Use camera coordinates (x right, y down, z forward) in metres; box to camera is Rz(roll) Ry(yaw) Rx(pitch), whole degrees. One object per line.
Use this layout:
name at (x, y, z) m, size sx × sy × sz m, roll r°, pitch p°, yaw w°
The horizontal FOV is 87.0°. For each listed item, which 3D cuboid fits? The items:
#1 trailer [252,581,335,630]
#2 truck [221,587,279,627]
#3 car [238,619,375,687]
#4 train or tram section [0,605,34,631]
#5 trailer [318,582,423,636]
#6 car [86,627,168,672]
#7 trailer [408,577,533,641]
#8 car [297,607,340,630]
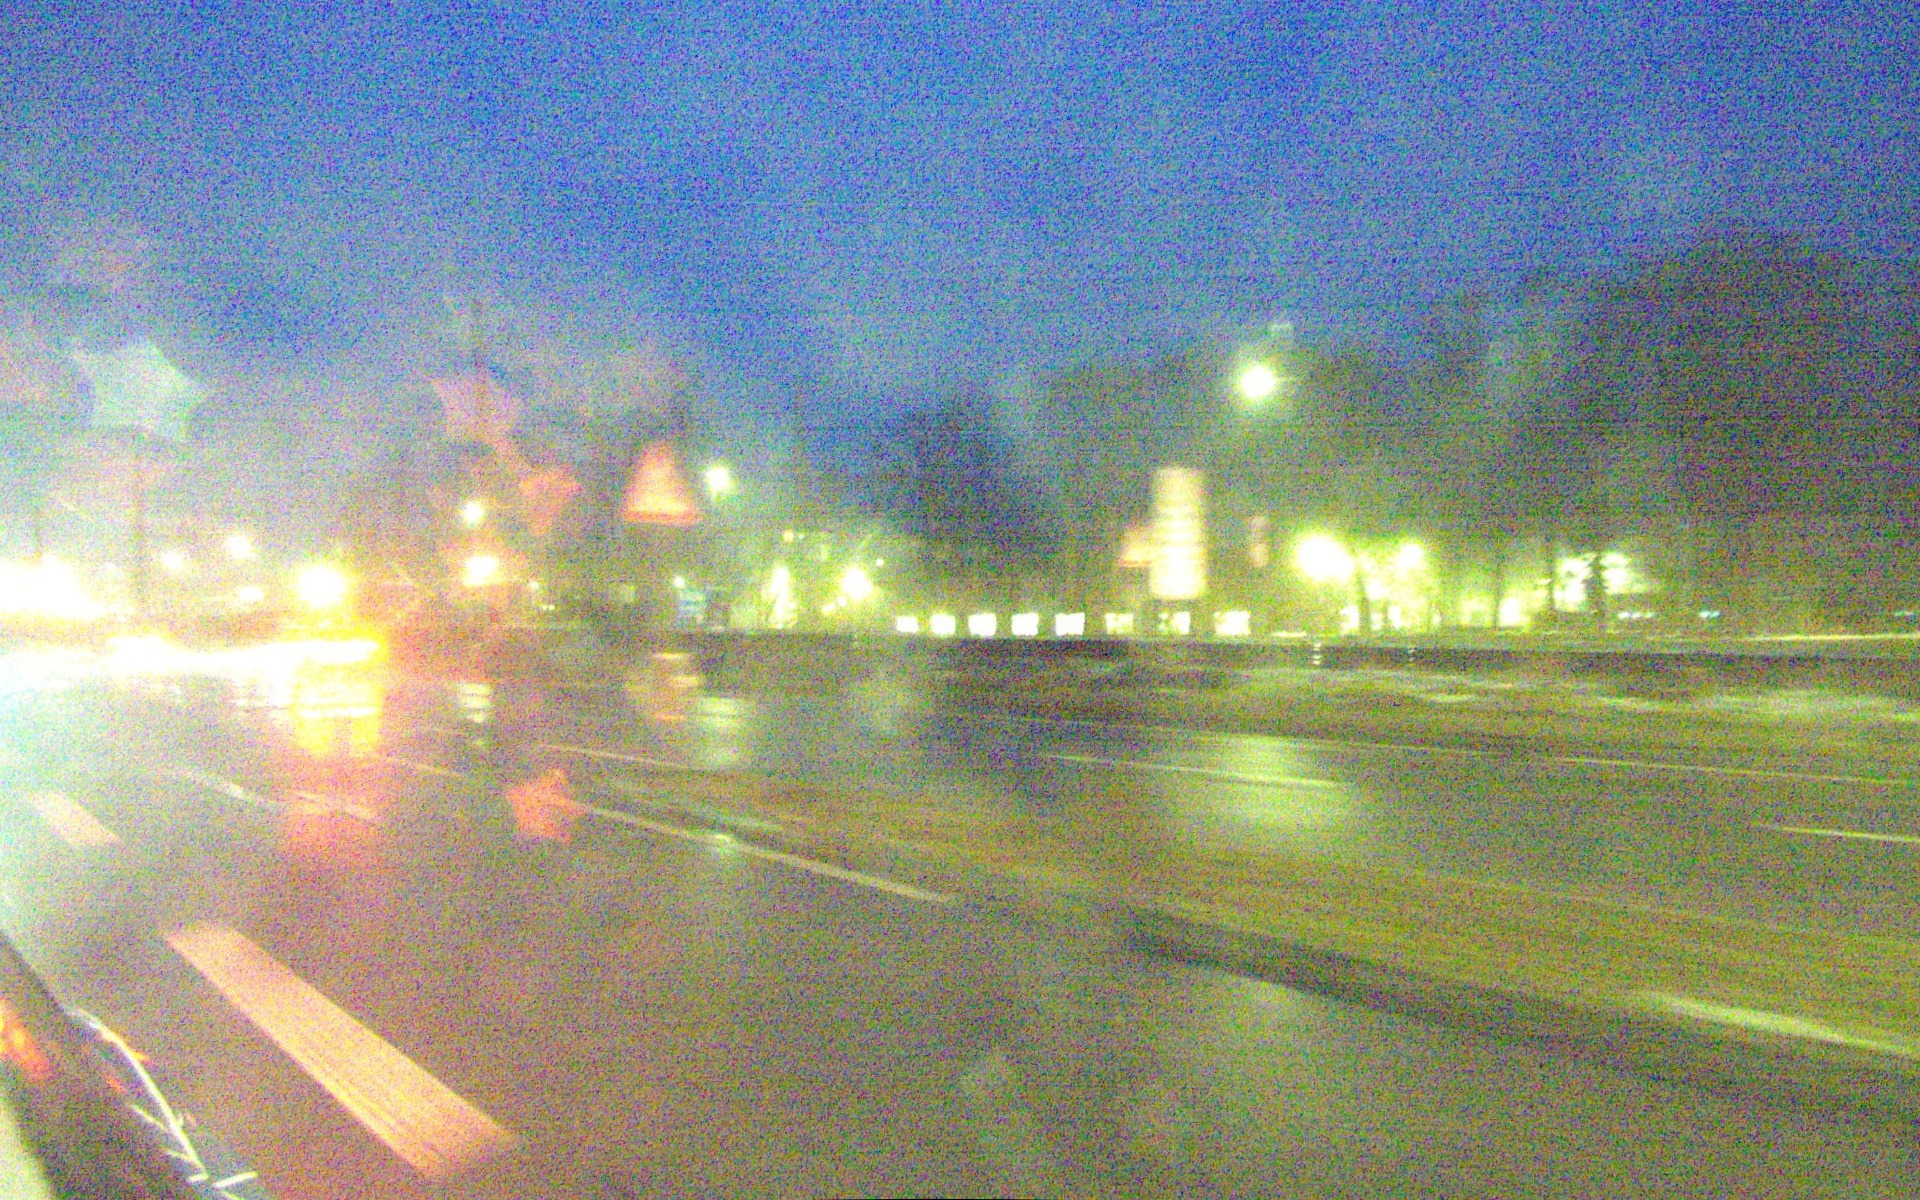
trailer at (-76.318, 0.541, 115.627) m, size 14.831 × 5.049 × 3.930 m, roll 0°, pitch 4°, yaw 42°
truck at (-89.160, 0.846, 126.951) m, size 10.210 × 4.643 × 3.404 m, roll 0°, pitch 4°, yaw 42°
car at (-17.827, 1.393, 27.526) m, size 4.647 × 1.654 × 1.744 m, roll -1°, pitch 0°, yaw 39°
train or tram section at (-165.364, 2.969, 176.111) m, size 37.138 × 3.842 × 2.668 m, roll 0°, pitch 4°, yaw 42°
trailer at (-57.211, 0.805, 97.831) m, size 15.510 × 4.643 × 3.930 m, roll 0°, pitch 4°, yaw 42°
car at (-33.398, 1.954, 40.535) m, size 4.027 × 1.600 × 1.784 m, roll -1°, pitch 1°, yaw 39°
trailer at (-40.558, 0.676, 83.437) m, size 14.243 × 4.643 × 3.930 m, roll 0°, pitch 4°, yaw 42°
car at (-52.598, 1.526, 82.981) m, size 4.216 × 1.706 × 1.768 m, roll -2°, pitch 1°, yaw 41°
